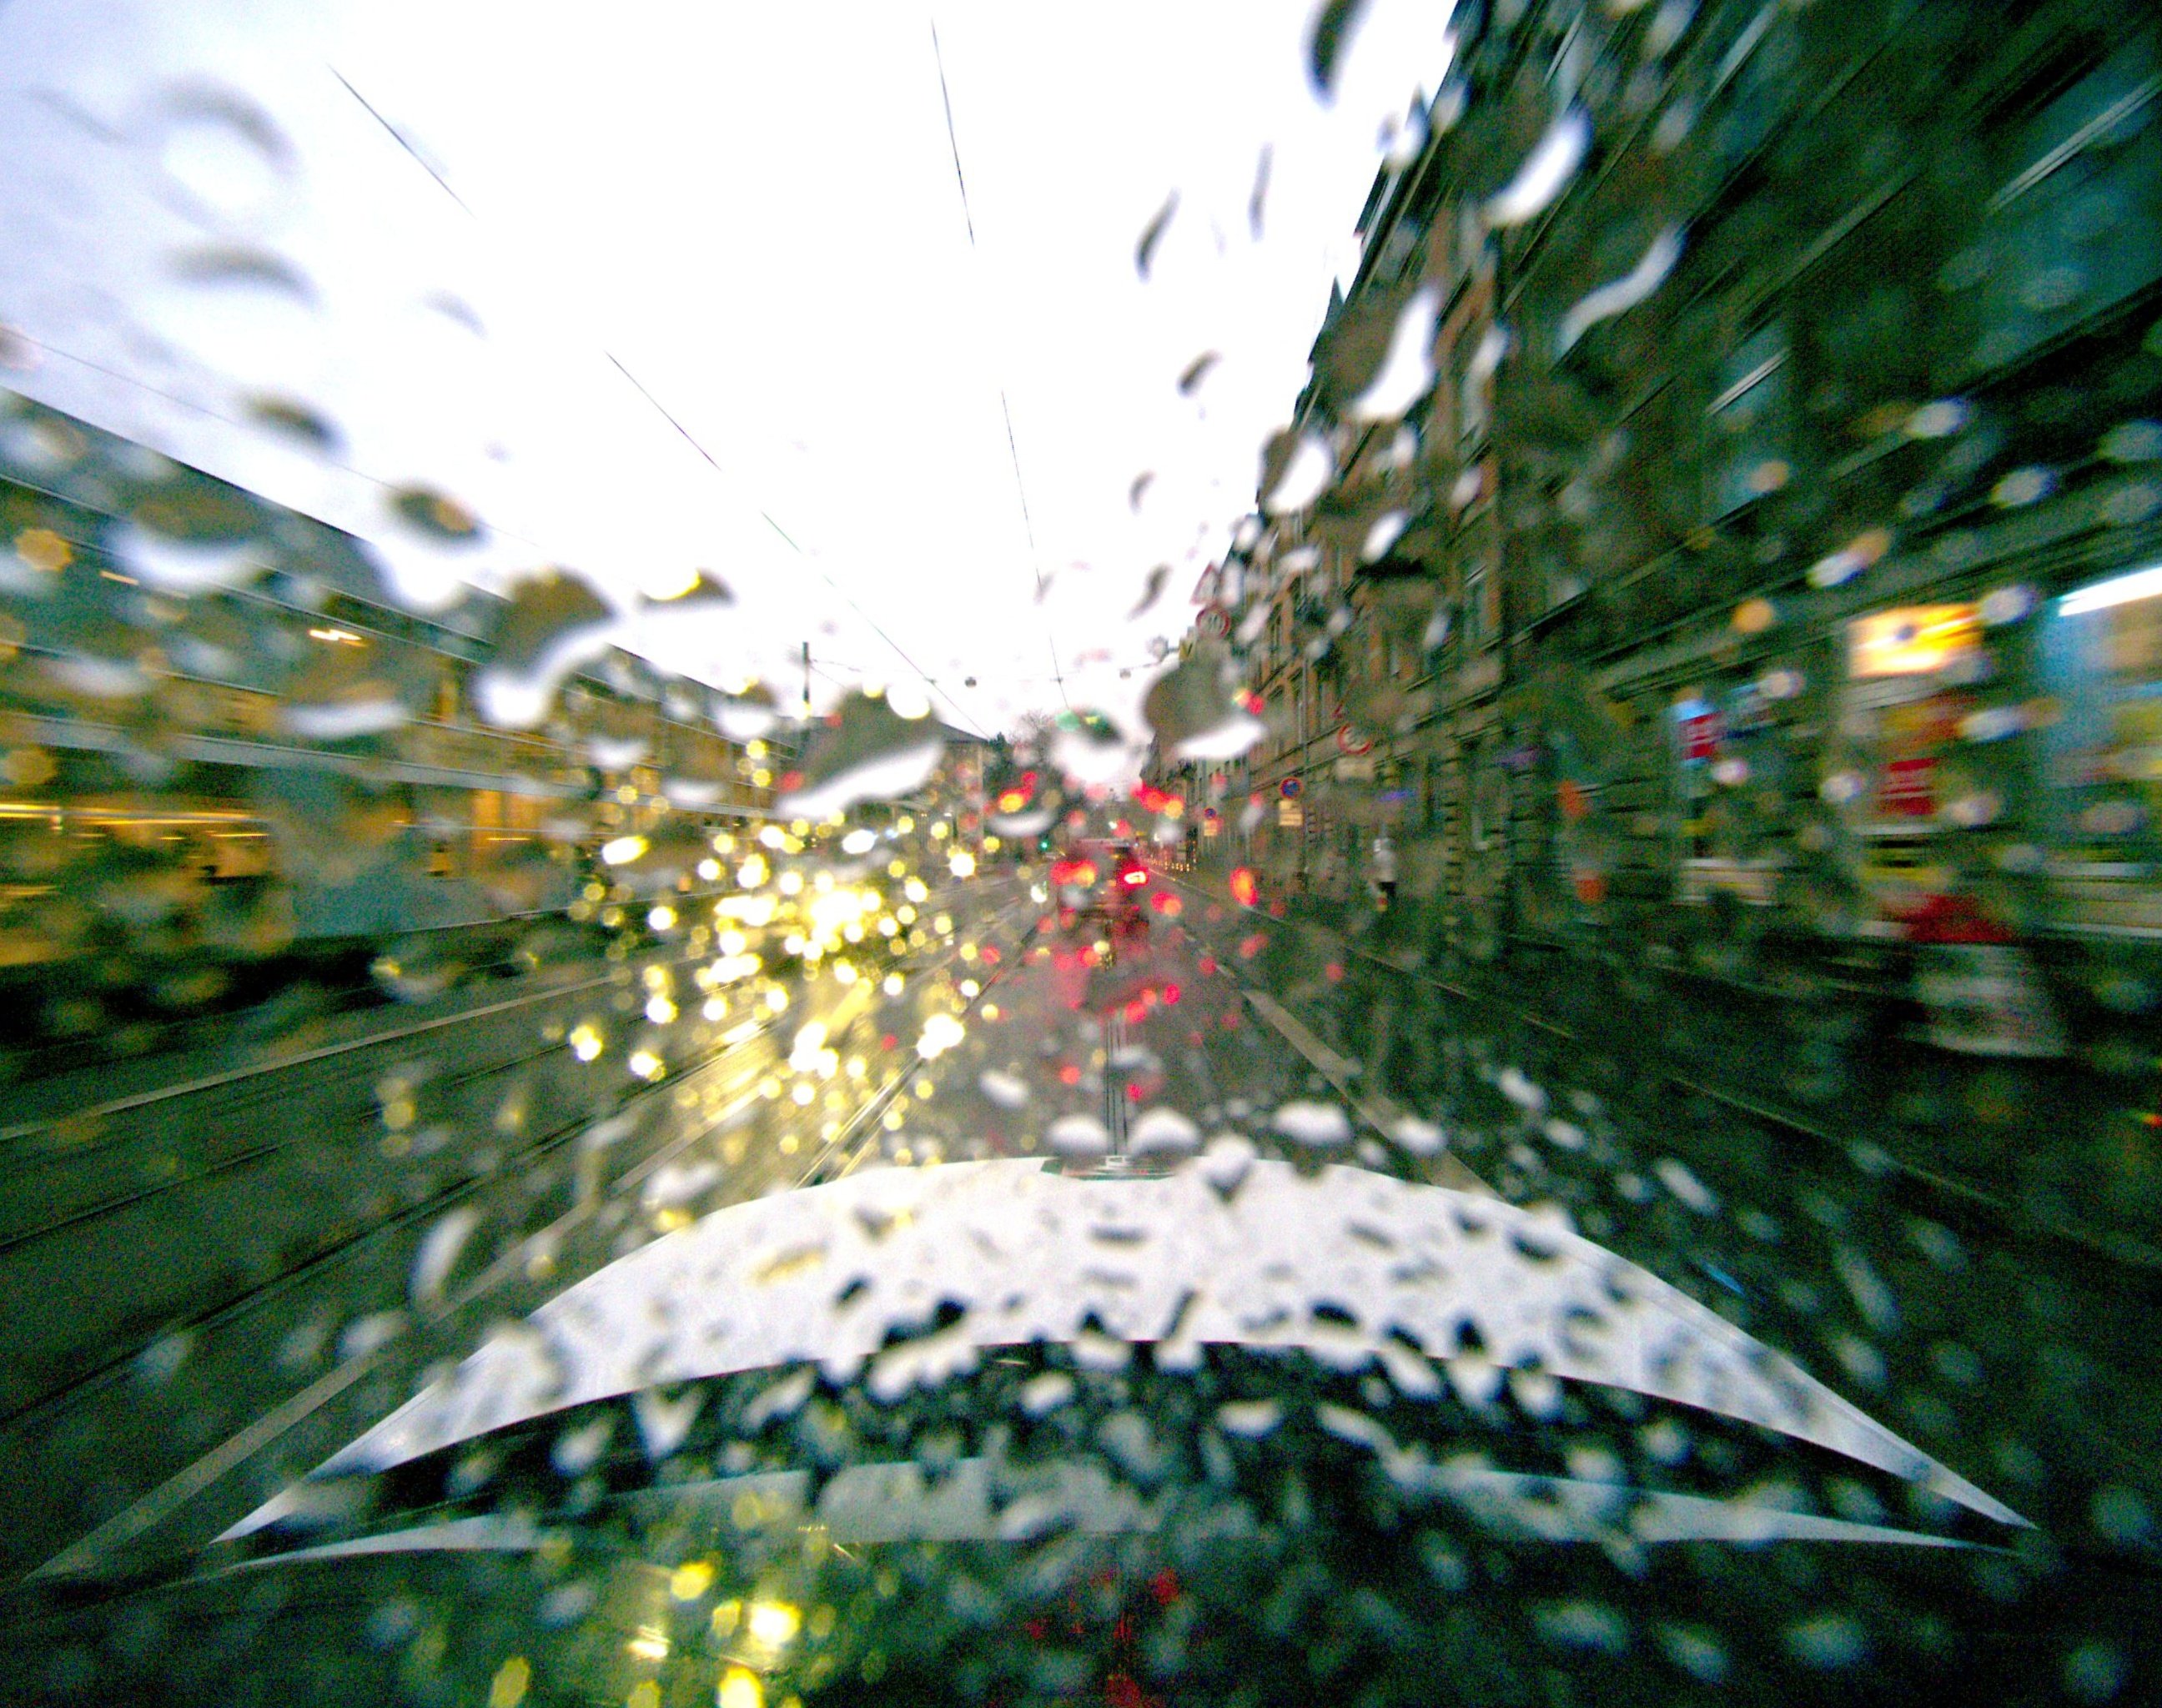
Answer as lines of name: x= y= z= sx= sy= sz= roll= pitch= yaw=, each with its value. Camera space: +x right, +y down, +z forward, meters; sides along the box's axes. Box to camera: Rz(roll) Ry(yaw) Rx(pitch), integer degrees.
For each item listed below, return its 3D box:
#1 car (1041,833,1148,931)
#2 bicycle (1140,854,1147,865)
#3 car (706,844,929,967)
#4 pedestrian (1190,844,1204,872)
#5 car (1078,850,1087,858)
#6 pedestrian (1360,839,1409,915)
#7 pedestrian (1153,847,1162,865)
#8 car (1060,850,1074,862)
car: x=0.410 y=0.529 z=17.419 sx=1.984 sy=1.842 sz=4.005 roll=-1 pitch=0 yaw=4
bicycle: x=6.626 y=0.596 z=86.735 sx=0.681 sy=1.156 sz=2.189 roll=0 pitch=0 yaw=2
car: x=-3.886 y=0.679 z=12.913 sx=1.833 sy=1.578 sz=4.446 roll=-1 pitch=0 yaw=3
pedestrian: x=7.603 y=0.245 z=53.320 sx=0.601 sy=1.818 sz=0.769 roll=0 pitch=-1 yaw=-26
car: x=0.258 y=0.048 z=151.778 sx=1.524 sy=1.481 sz=3.563 roll=-1 pitch=0 yaw=2
pedestrian: x=6.506 y=0.481 z=17.491 sx=0.783 sy=1.597 sz=0.742 roll=-1 pitch=0 yaw=2
pedestrian: x=7.656 y=0.208 z=81.288 sx=0.829 sy=1.701 sz=0.956 roll=-1 pitch=-1 yaw=10
car: x=-2.083 y=0.311 z=123.778 sx=1.869 sy=1.709 sz=4.761 roll=-2 pitch=0 yaw=1
